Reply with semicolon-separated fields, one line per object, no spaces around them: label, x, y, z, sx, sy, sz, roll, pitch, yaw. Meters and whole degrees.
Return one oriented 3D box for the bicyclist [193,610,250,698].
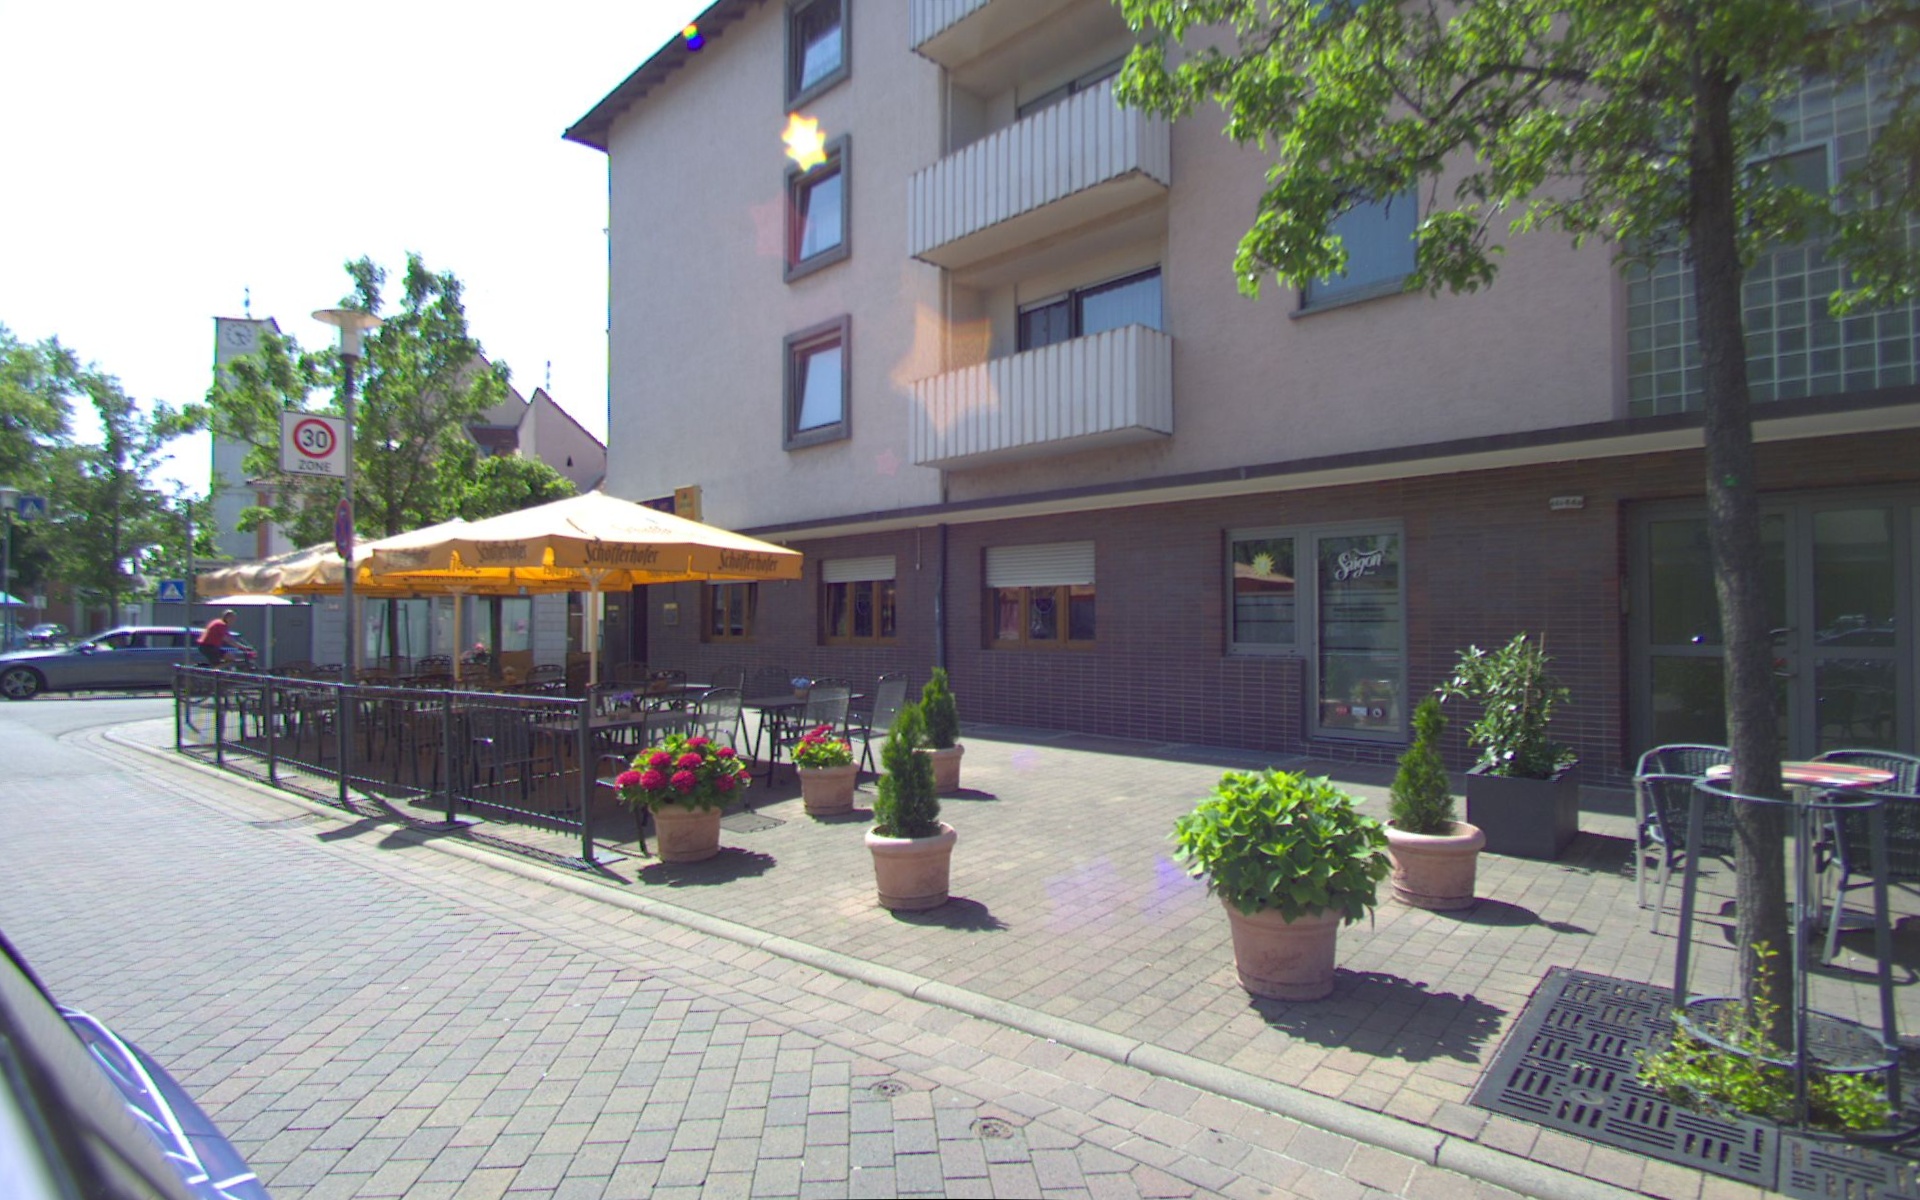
bicyclist;-14.812;1.072;20.305;0.703;1.729;0.749;-1;-2;41

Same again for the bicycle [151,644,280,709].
bicycle;-14.886;1.508;20.276;0.738;1.198;1.944;1;-1;40

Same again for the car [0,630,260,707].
car;-18.010;1.435;21.615;4.771;1.493;1.917;3;-4;-44

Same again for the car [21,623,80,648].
car;-59.533;2.301;66.307;1.966;1.629;4.012;1;-2;-29

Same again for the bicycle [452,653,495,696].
bicycle;-10.701;1.623;22.311;0.457;0.904;1.417;-1;-3;-9

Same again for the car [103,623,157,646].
car;-55.645;2.310;67.889;1.622;1.479;3.791;0;-2;-20
